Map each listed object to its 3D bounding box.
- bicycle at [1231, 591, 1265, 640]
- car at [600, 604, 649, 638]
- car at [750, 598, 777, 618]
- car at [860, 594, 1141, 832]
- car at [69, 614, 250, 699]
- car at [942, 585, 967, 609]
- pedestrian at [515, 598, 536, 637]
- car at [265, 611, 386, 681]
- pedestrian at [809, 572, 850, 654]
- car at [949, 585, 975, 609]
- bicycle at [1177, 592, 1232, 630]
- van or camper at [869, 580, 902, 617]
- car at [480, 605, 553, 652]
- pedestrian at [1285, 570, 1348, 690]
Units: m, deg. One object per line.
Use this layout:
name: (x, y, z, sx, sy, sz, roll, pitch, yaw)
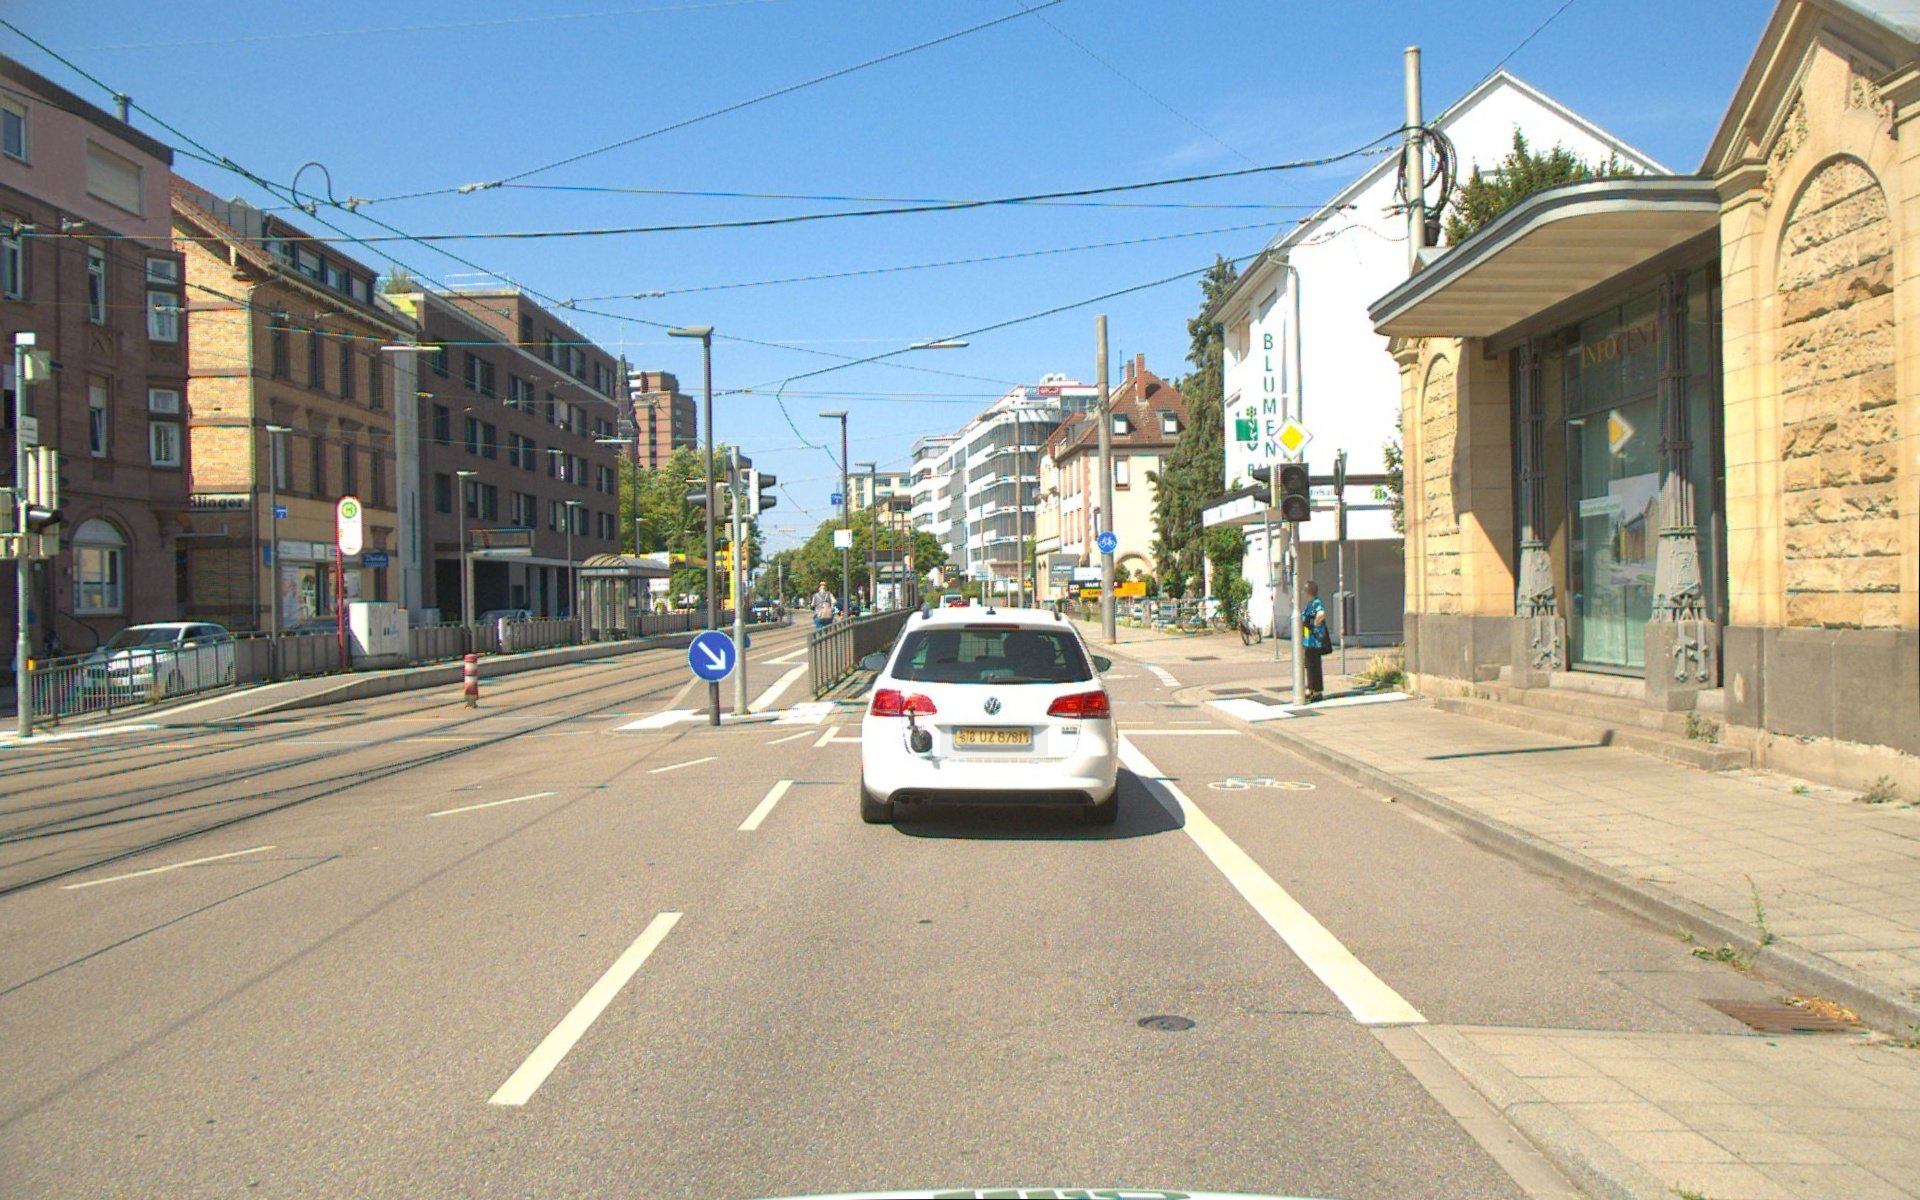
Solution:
bicycle: (7.230, 0.364, 41.410, 0.710, 1.159, 2.197, -2, 0, 12)
car: (-15.914, 0.975, 78.639, 1.541, 1.484, 3.934, -2, 0, -1)
car: (-15.380, 0.594, 129.868, 1.634, 1.492, 3.773, -2, 0, 0)
car: (0.263, 0.687, 12.087, 1.717, 1.442, 3.853, 0, 0, 0)
car: (-15.121, 1.022, 31.478, 1.593, 1.456, 3.961, -1, 0, -2)
car: (-0.533, -0.240, 148.872, 1.954, 2.049, 3.996, -2, 0, -4)
pedestrian: (-20.794, 0.844, 79.198, 0.710, 1.822, 0.964, -2, 0, 0)
car: (-14.985, 1.060, 39.233, 1.541, 1.484, 3.811, -2, 0, -3)
pedestrian: (-2.984, 0.297, 37.938, 0.809, 1.841, 0.833, -2, 0, 0)
car: (0.148, -0.251, 143.455, 1.954, 2.049, 3.996, -2, 0, -4)
bicycle: (7.800, 0.334, 52.788, 1.676, 1.150, 0.526, -2, 0, 1)
van or camper: (-6.878, -0.154, 153.311, 2.885, 3.235, 6.609, -2, 0, -3)
car: (-15.287, 0.954, 57.148, 1.541, 1.484, 3.737, -2, 0, -1)
pedestrian: (4.717, 0.387, 21.911, 0.762, 1.536, 0.859, -2, 0, 11)
